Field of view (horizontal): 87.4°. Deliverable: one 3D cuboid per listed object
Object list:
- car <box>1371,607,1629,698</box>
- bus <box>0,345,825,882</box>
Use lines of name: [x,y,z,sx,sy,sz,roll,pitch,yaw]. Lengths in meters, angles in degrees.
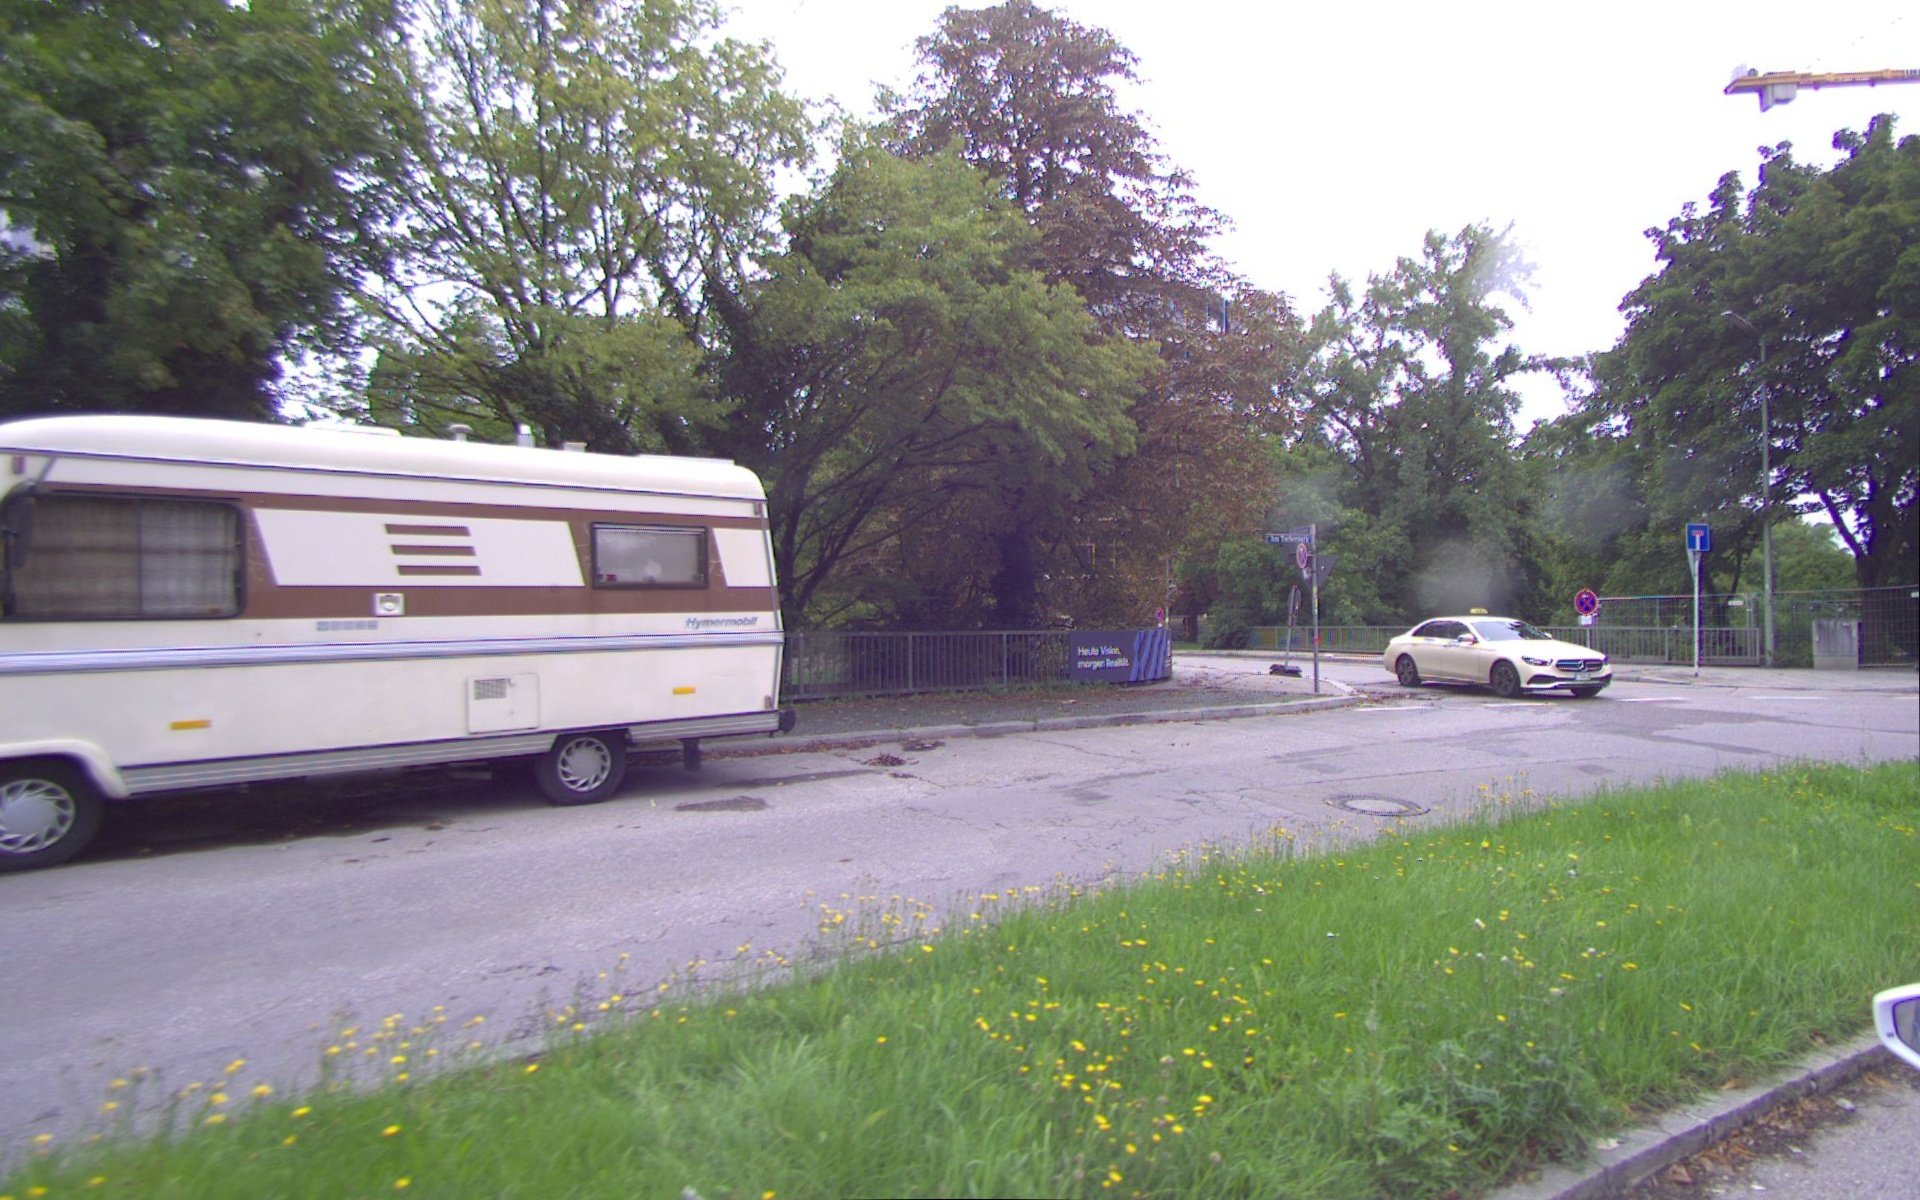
car: [10.381,0.953,19.833,1.860,1.565,4.844,0,-1,-11]
bus: [-4.013,0.114,7.319,5.685,2.734,2.297,1,-2,-39]
